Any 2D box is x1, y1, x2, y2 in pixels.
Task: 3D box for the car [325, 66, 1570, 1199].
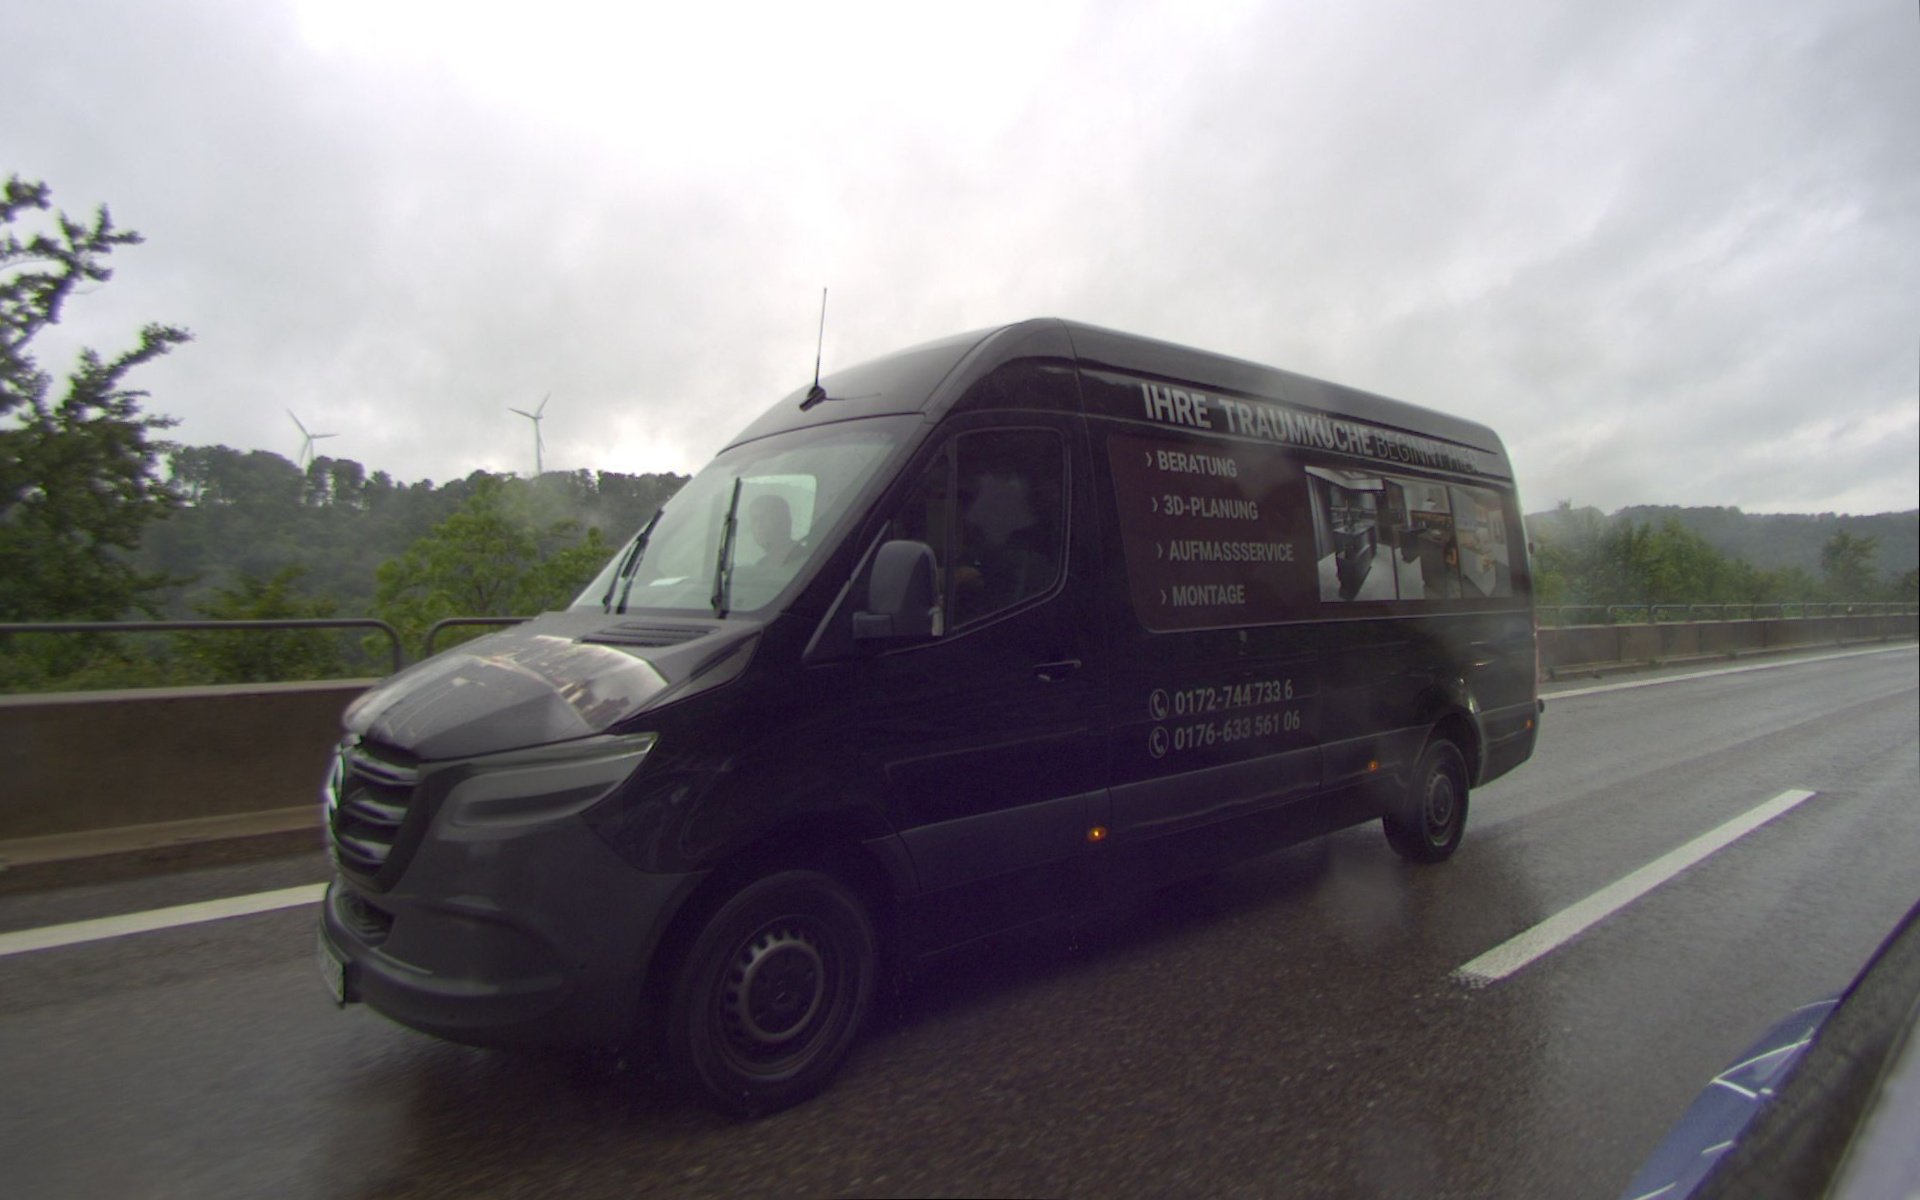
[{"bbox_3d":[0.809,0.094,5.104,6.588,2.525,1.997,0,1,-41],"label":"car"}]
